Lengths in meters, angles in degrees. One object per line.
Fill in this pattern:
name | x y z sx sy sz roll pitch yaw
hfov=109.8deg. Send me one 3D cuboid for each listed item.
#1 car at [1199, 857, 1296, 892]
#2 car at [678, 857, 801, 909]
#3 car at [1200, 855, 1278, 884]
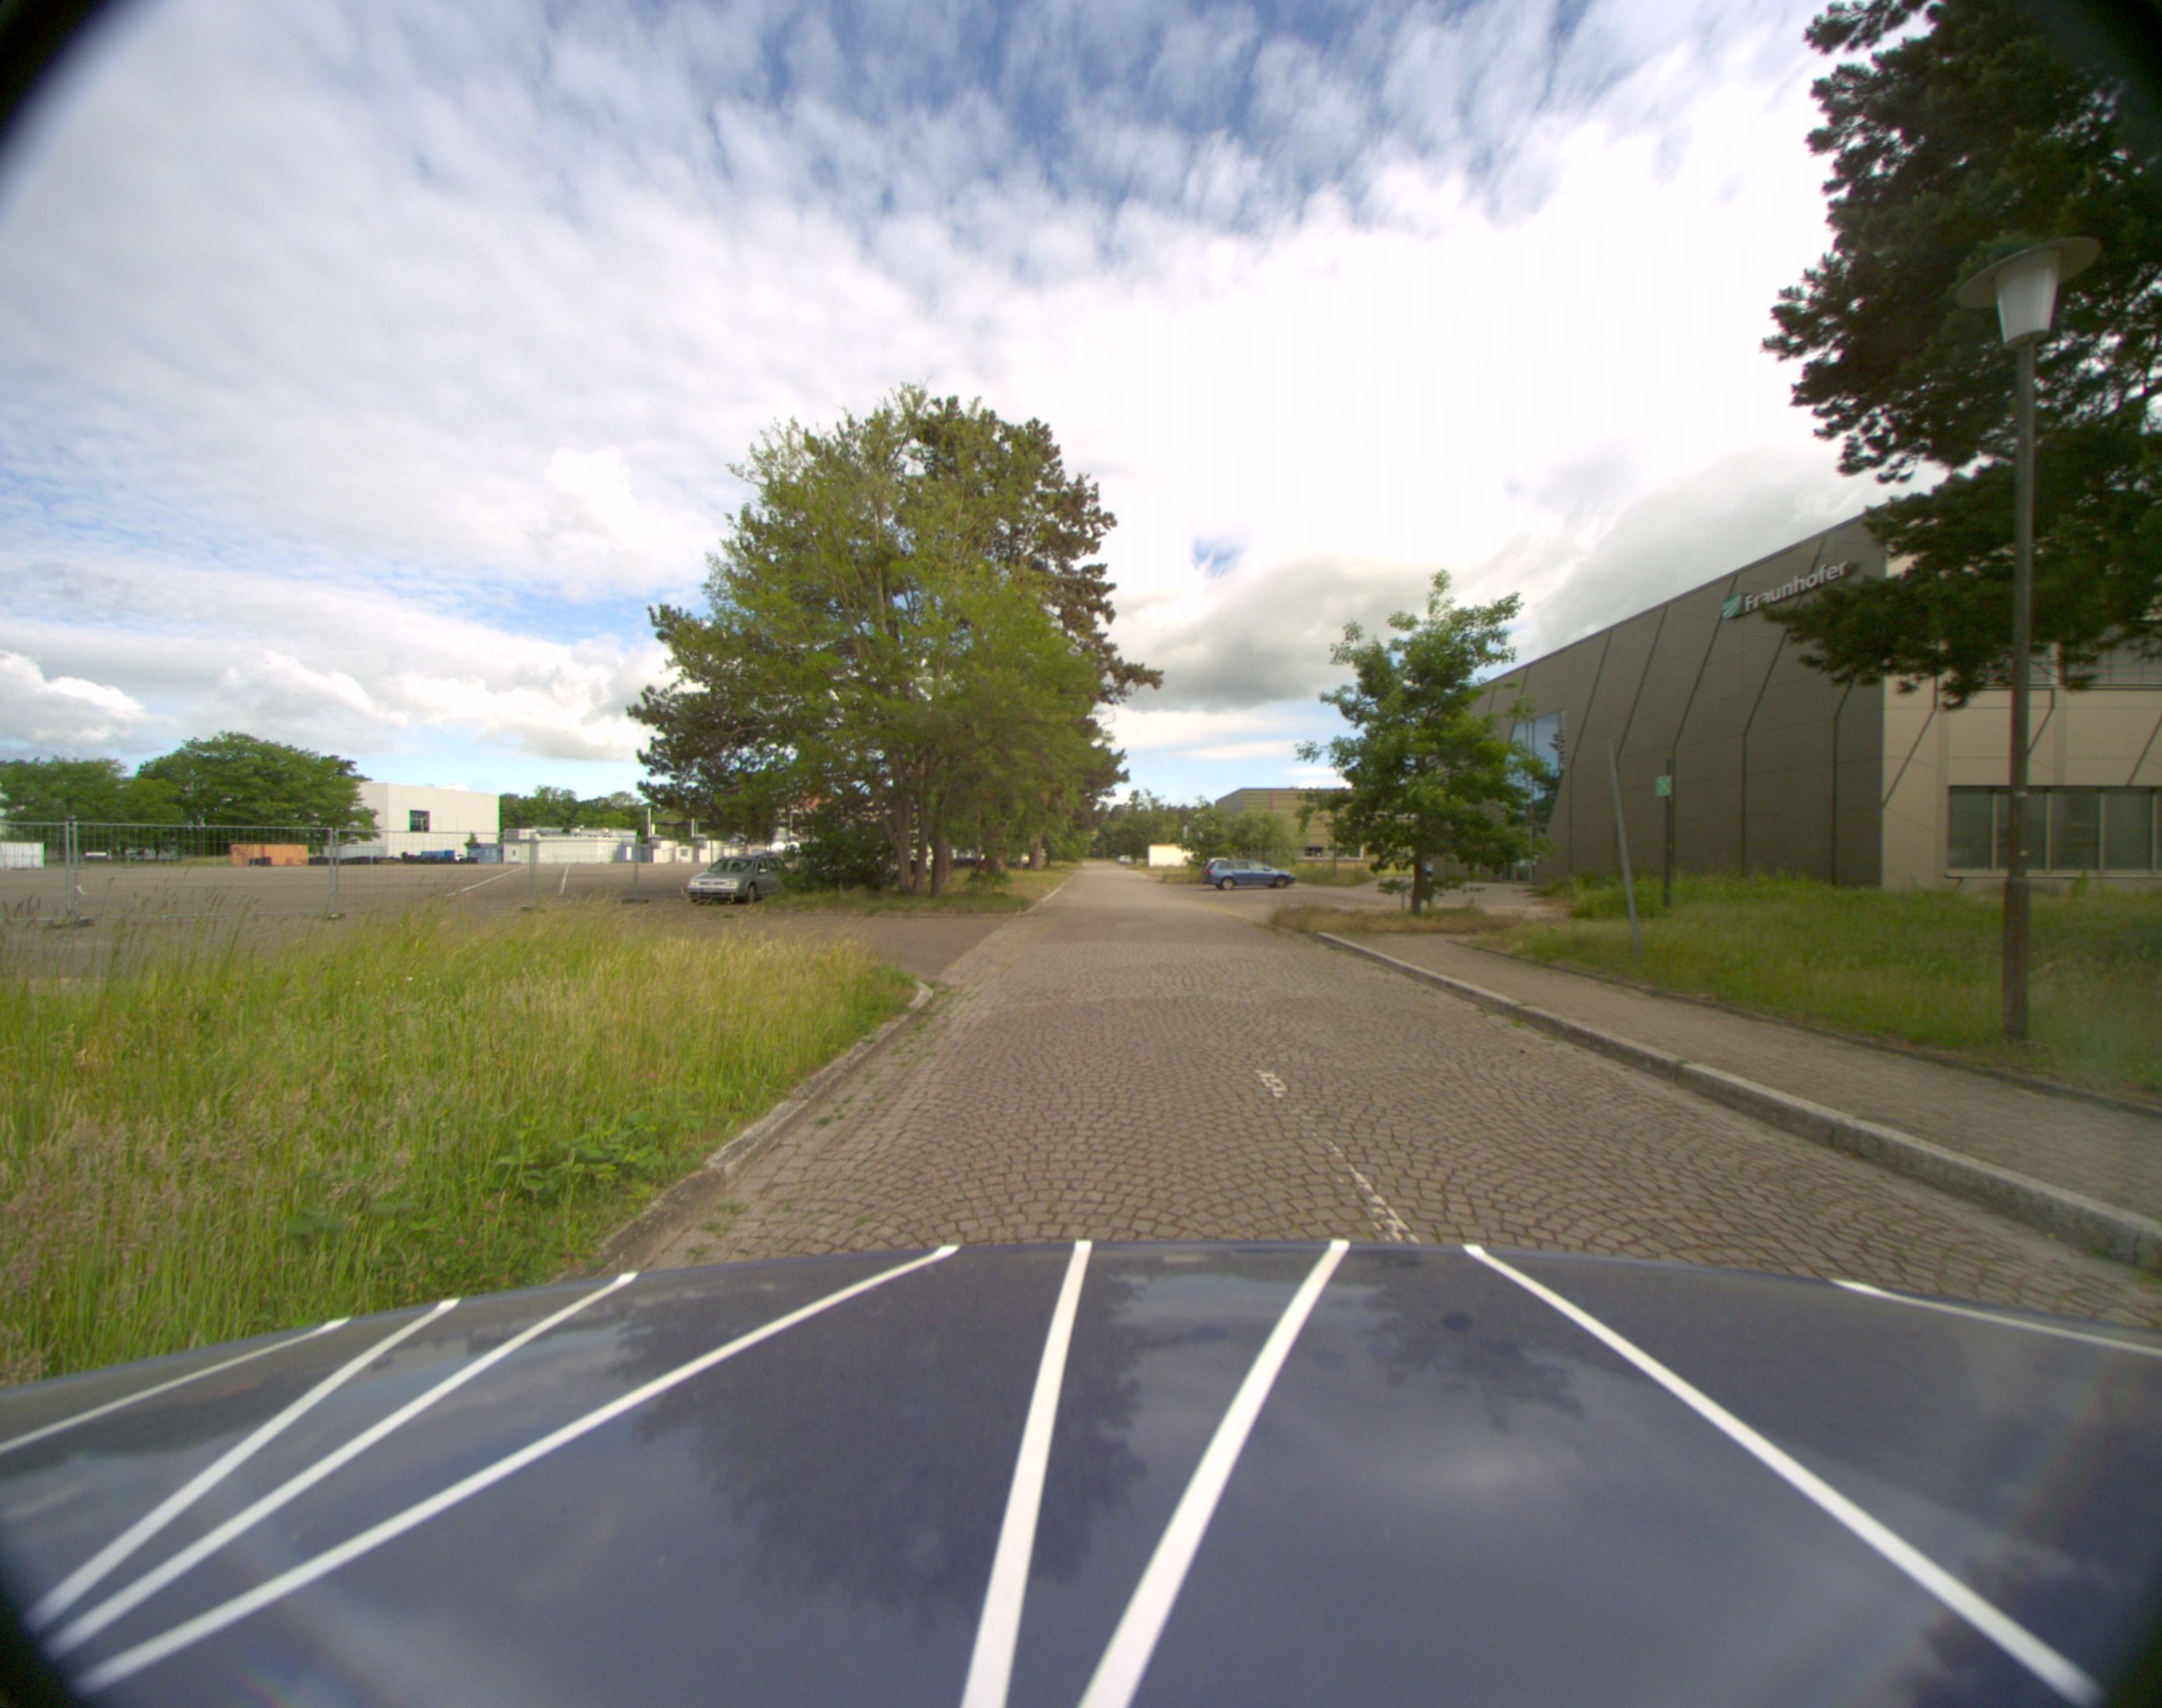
car | 8.264 0.991 37.916 4.404 1.501 1.716 -2 1 -2
car | -10.521 0.829 23.762 1.759 1.440 4.327 0 0 2
car | 9.348 0.926 45.269 4.400 1.537 1.842 -2 0 8
